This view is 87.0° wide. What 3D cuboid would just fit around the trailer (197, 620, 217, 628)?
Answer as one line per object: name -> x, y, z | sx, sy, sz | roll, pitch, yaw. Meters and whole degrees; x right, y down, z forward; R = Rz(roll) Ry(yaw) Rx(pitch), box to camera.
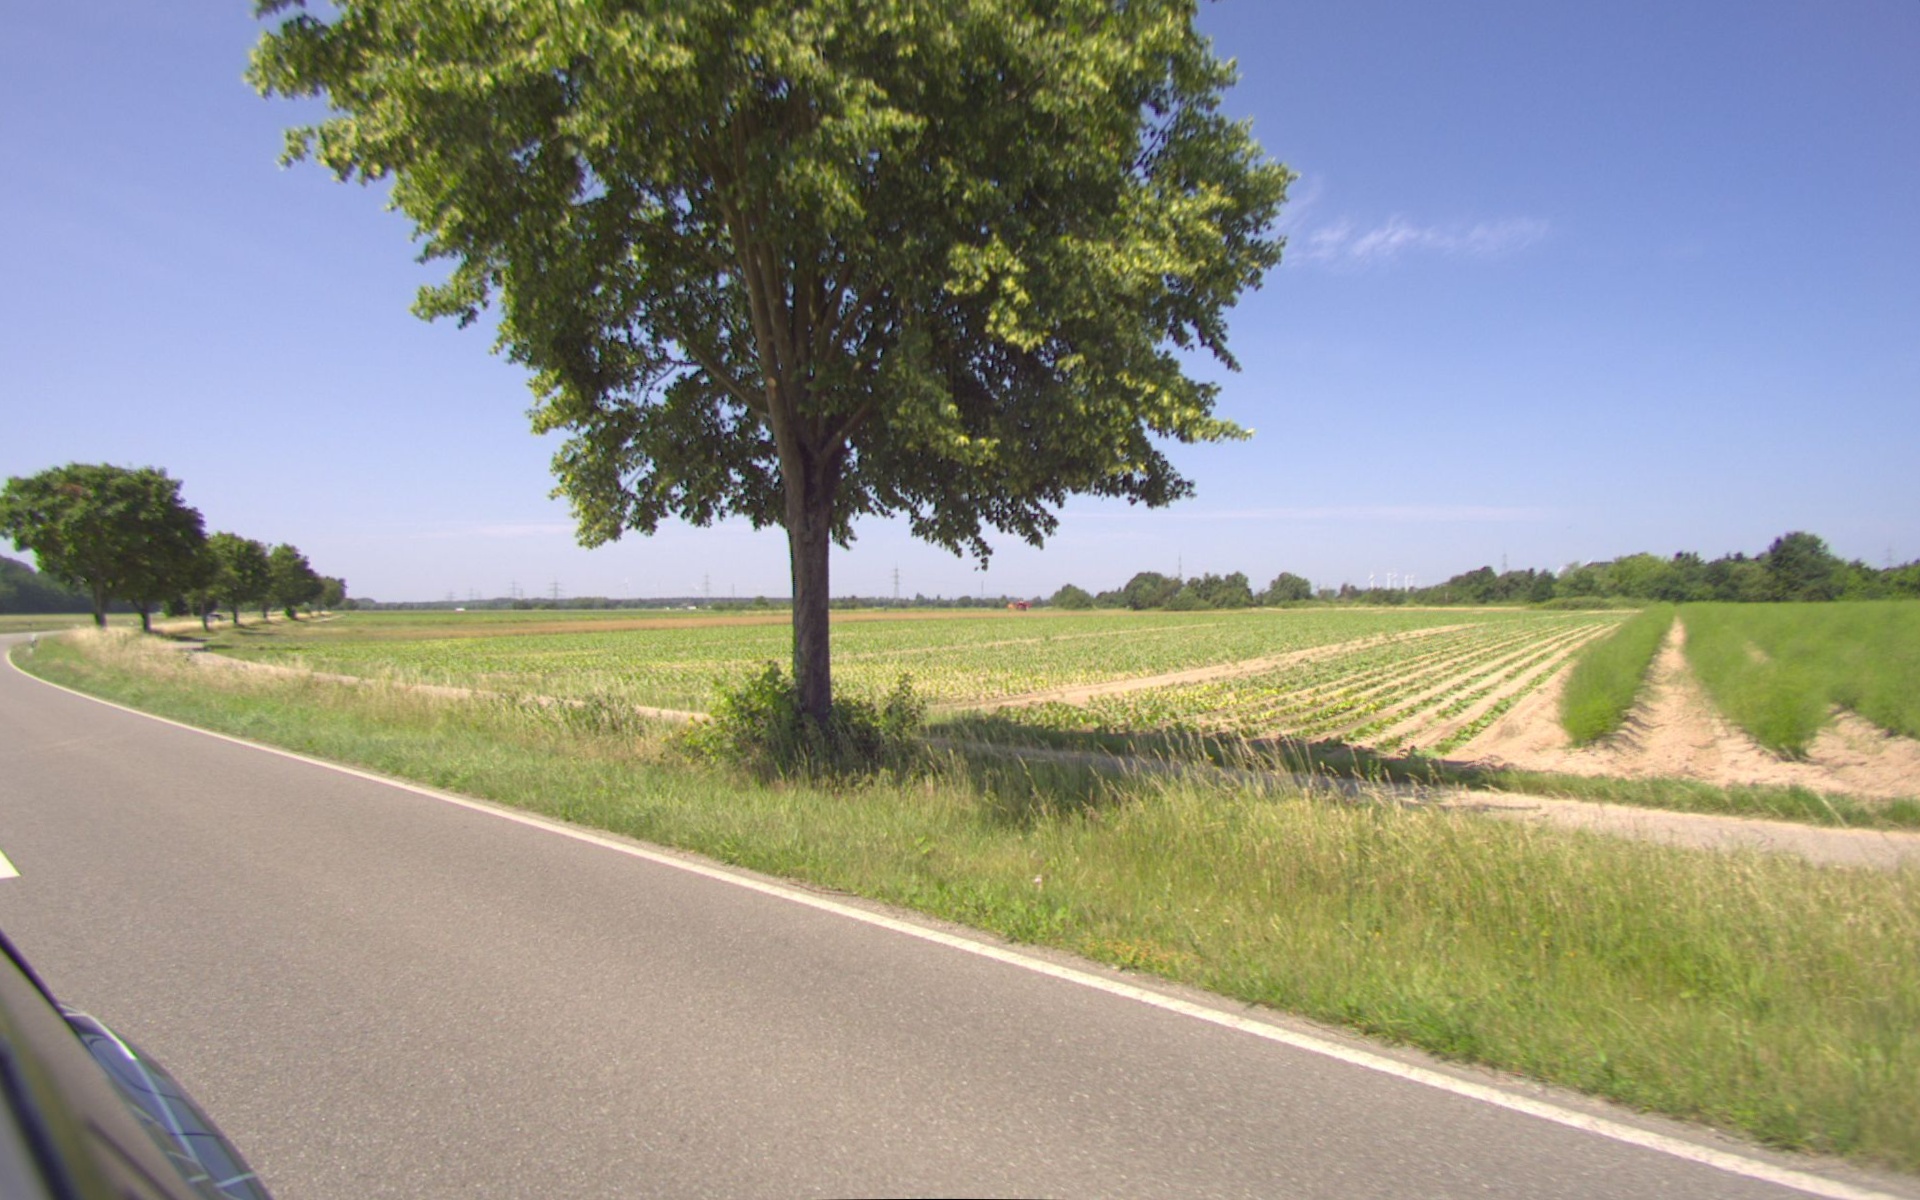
trailer -> -104.807, 3.387, 140.924 | 1.600, 1.073, 4.132 | 3, -3, -28
